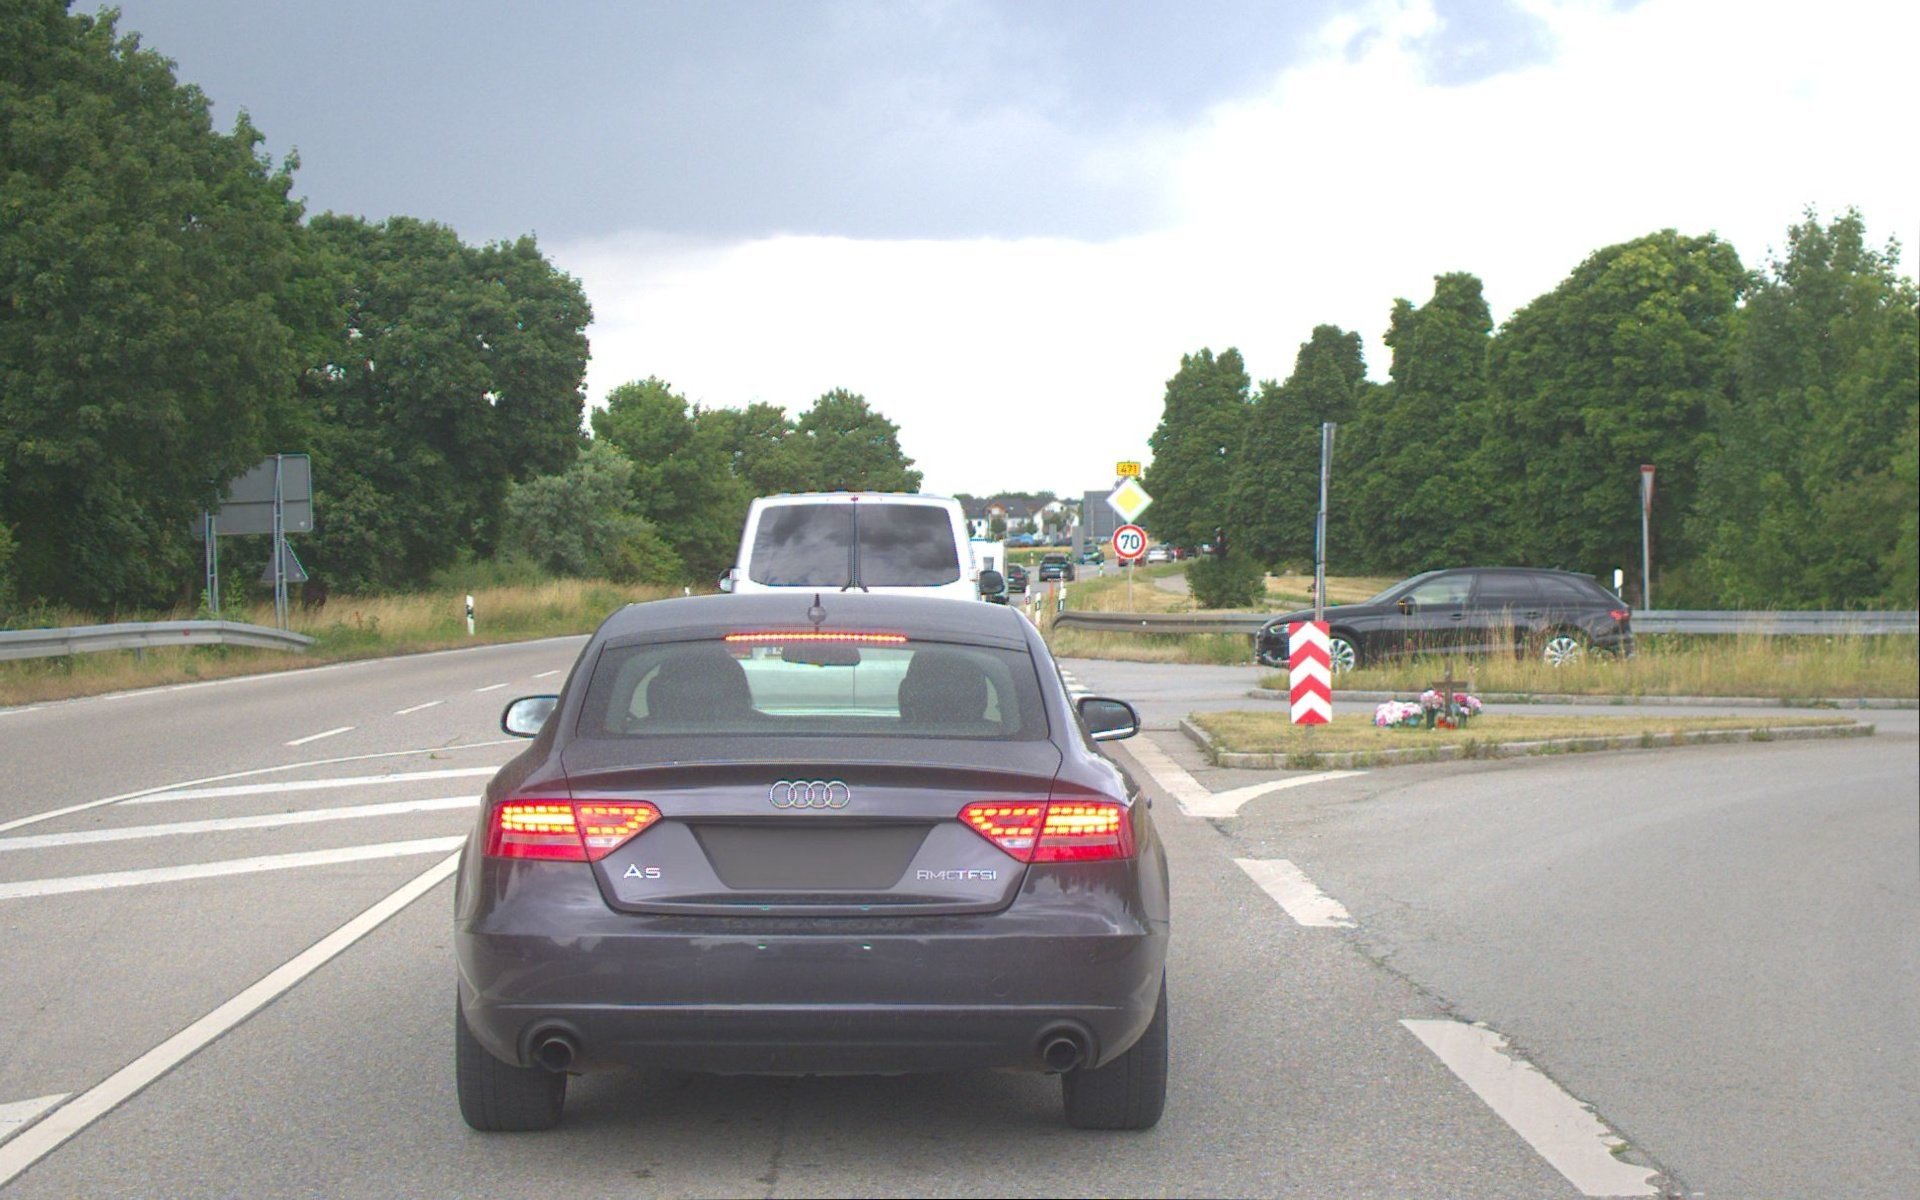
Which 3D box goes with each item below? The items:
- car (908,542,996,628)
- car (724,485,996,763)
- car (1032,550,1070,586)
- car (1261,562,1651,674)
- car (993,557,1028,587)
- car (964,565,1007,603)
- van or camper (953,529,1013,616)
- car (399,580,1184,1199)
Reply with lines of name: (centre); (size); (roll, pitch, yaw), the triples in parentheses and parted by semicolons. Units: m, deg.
car: (-0.181, -0.379, 84.730); (1.994, 2.081, 4.000); (0, 0, 2)
car: (-0.704, 0.128, 25.444); (1.838, 1.876, 4.000); (1, 1, -1)
car: (5.255, -1.872, 198.991); (1.993, 2.007, 4.000); (0, 1, -1)
car: (6.162, 0.214, 43.050); (4.596, 1.369, 1.826); (0, 1, -1)
car: (2.482, -1.378, 170.390); (1.719, 1.446, 4.000); (1, 1, 1)
car: (0.940, -0.579, 124.872); (1.258, 1.349, 3.465); (0, 0, 5)
van or camper: (0.961, -1.123, 140.827); (2.340, 3.469, 5.718); (0, 0, 2)
car: (-0.409, 0.661, 9.878); (1.783, 1.372, 4.000); (1, 1, -1)
